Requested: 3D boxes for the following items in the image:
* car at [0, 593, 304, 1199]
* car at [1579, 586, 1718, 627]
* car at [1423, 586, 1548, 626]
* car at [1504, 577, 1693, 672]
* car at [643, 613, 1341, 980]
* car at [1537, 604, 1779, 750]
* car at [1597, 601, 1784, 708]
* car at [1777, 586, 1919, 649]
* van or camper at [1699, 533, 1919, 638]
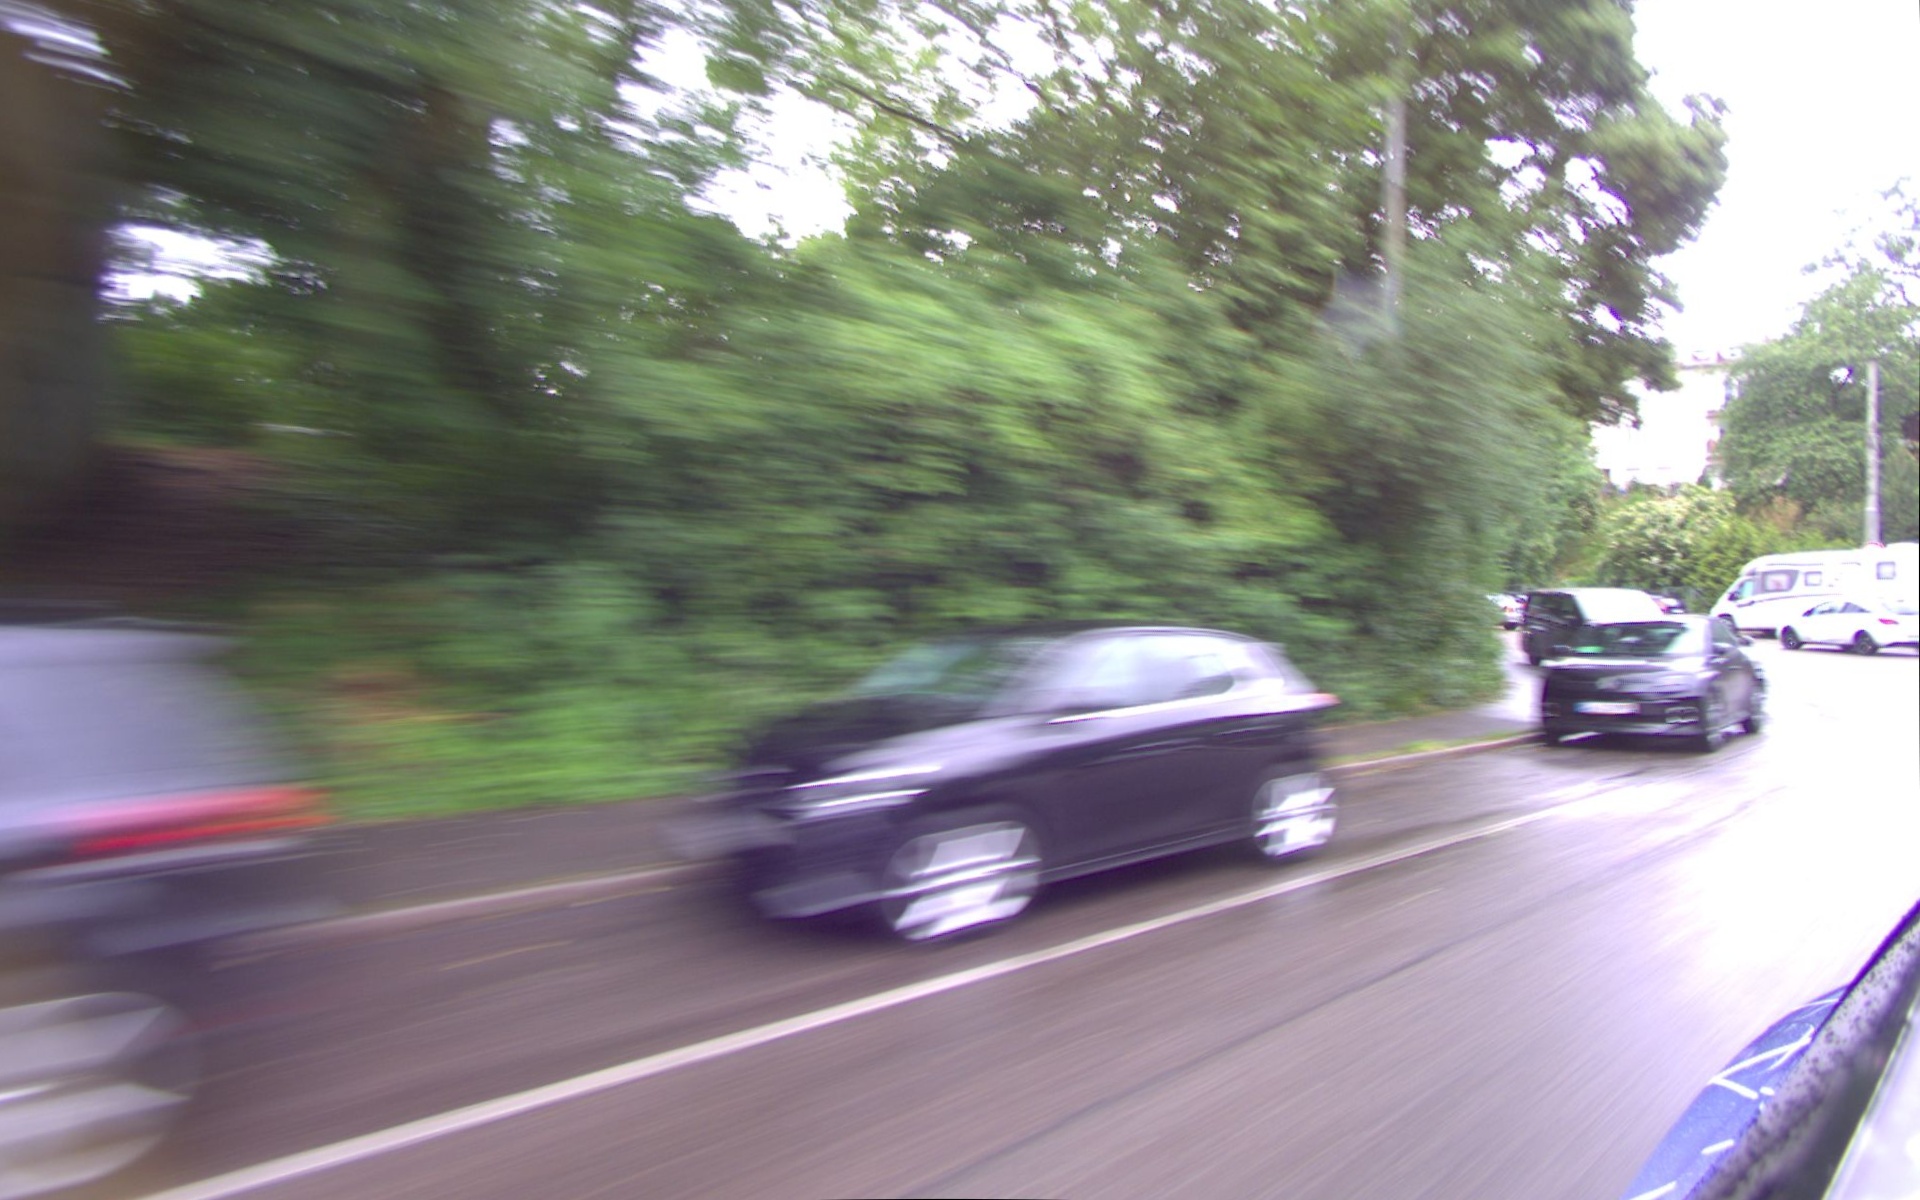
[{"bbox_3d":[-3.735,0.677,2.027,3.896,1.442,1.663,2,-1,-39],"label":"car"},{"bbox_3d":[26.585,0.209,39.253,1.874,1.429,4.142,1,1,-17],"label":"car"},{"bbox_3d":[20.357,0.198,39.418,1.753,1.402,4.349,0,2,-17],"label":"car"},{"bbox_3d":[14.658,0.491,23.620,1.968,1.910,5.020,-2,0,11],"label":"car"},{"bbox_3d":[0.341,0.794,5.682,3.751,1.407,1.593,1,-2,-37],"label":"car"},{"bbox_3d":[8.672,0.841,12.475,3.681,1.508,1.628,0,-2,-43],"label":"car"},{"bbox_3d":[12.356,0.830,17.451,1.889,1.507,4.827,-2,0,28],"label":"car"},{"bbox_3d":[23.531,0.408,26.266,1.578,1.514,4.028,0,0,4],"label":"car"},{"bbox_3d":[28.000,-0.473,32.429,2.409,3.004,7.537,-1,1,-7],"label":"van or camper"}]
